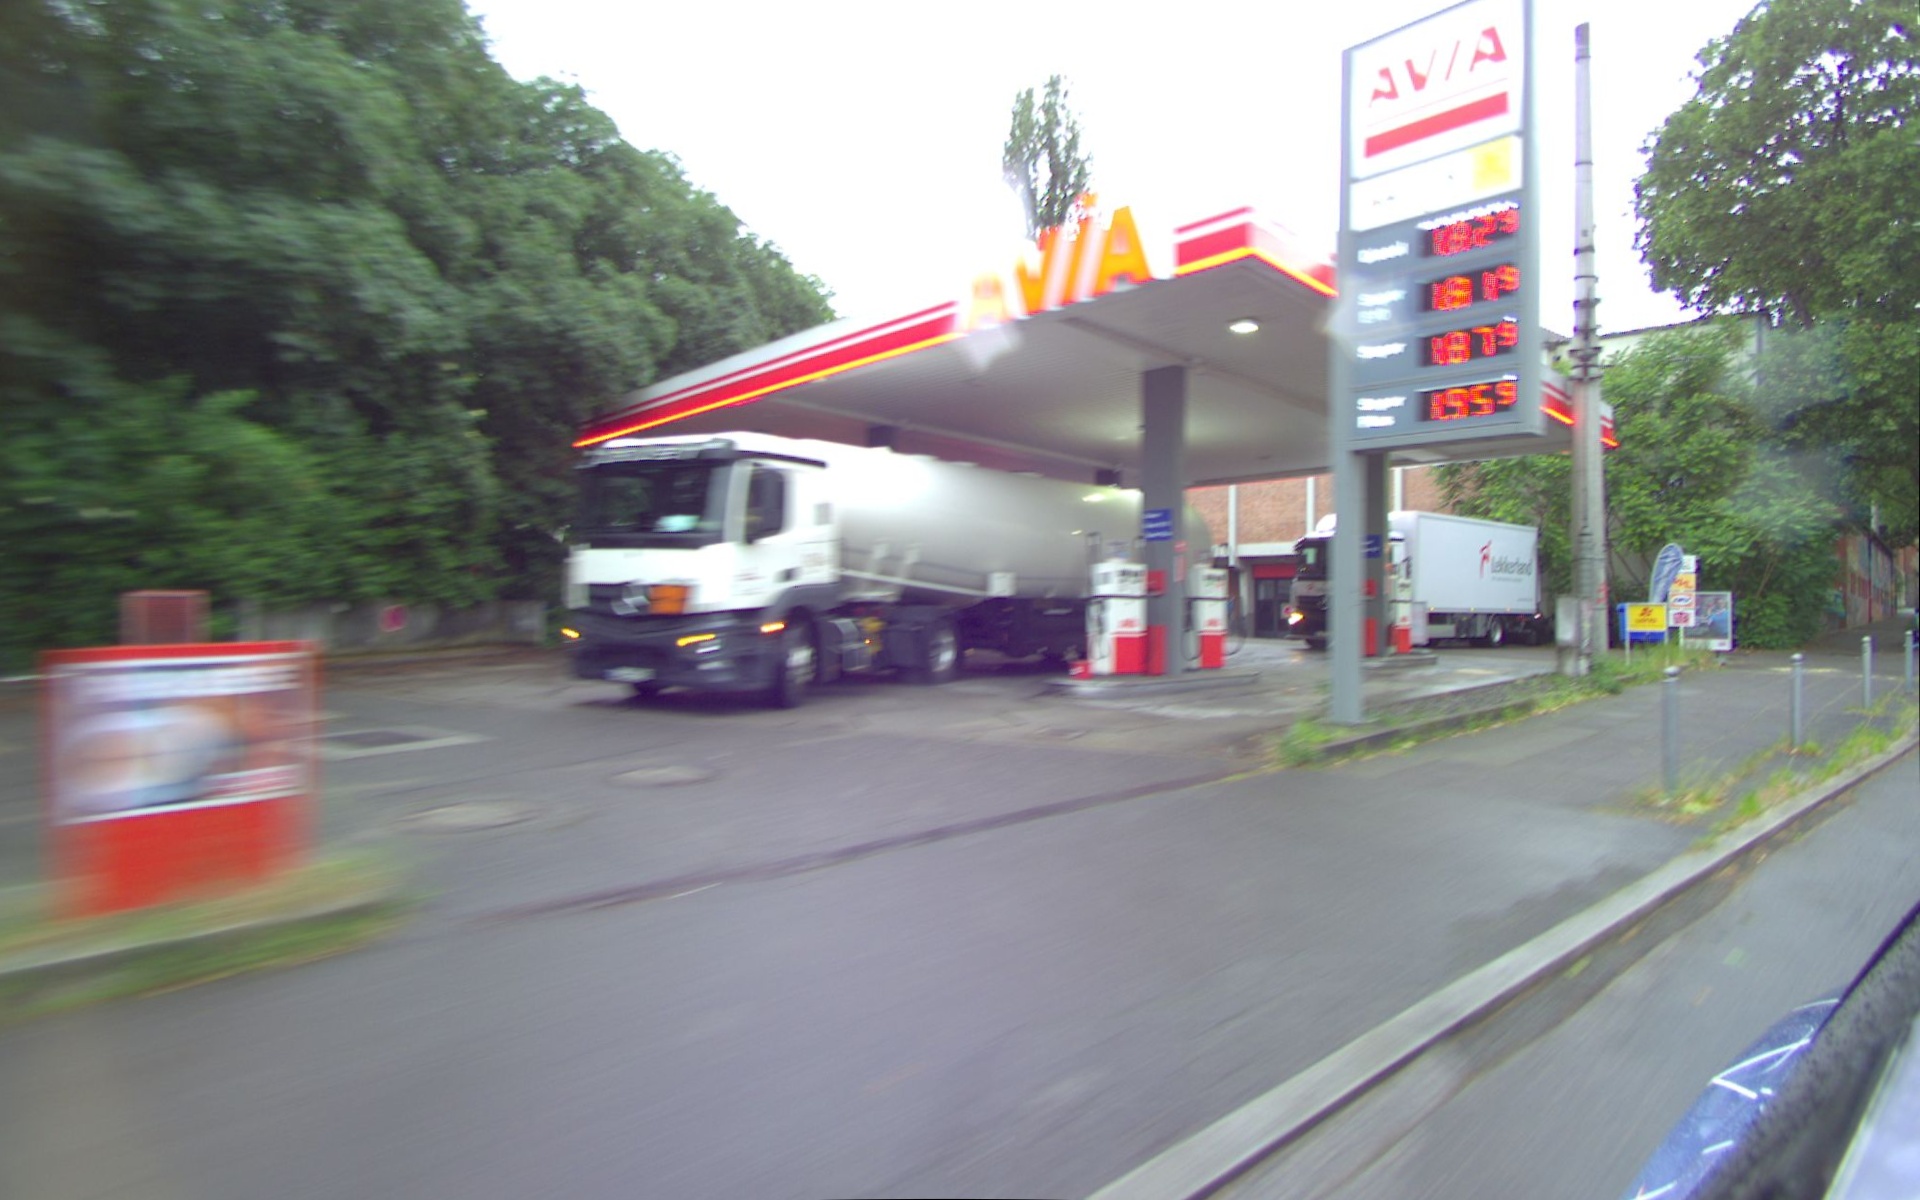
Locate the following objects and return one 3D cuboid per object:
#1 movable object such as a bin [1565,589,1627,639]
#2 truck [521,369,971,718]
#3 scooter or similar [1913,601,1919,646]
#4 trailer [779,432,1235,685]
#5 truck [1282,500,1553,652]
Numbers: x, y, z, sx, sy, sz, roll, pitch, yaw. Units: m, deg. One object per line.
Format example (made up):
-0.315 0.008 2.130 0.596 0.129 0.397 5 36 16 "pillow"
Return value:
18.845 0.397 29.992 1.054 1.418 1.285 1 1 -41 "movable object such as a bin"
-2.342 -0.643 13.358 2.806 3.442 6.077 2 1 23 "truck"
27.249 0.637 28.377 1.336 1.207 0.401 -3 3 -30 "scooter or similar"
1.447 -0.658 18.349 2.803 3.438 9.688 1 2 42 "trailer"
13.117 -0.655 28.382 10.070 3.613 2.660 -1 1 -39 "truck"
